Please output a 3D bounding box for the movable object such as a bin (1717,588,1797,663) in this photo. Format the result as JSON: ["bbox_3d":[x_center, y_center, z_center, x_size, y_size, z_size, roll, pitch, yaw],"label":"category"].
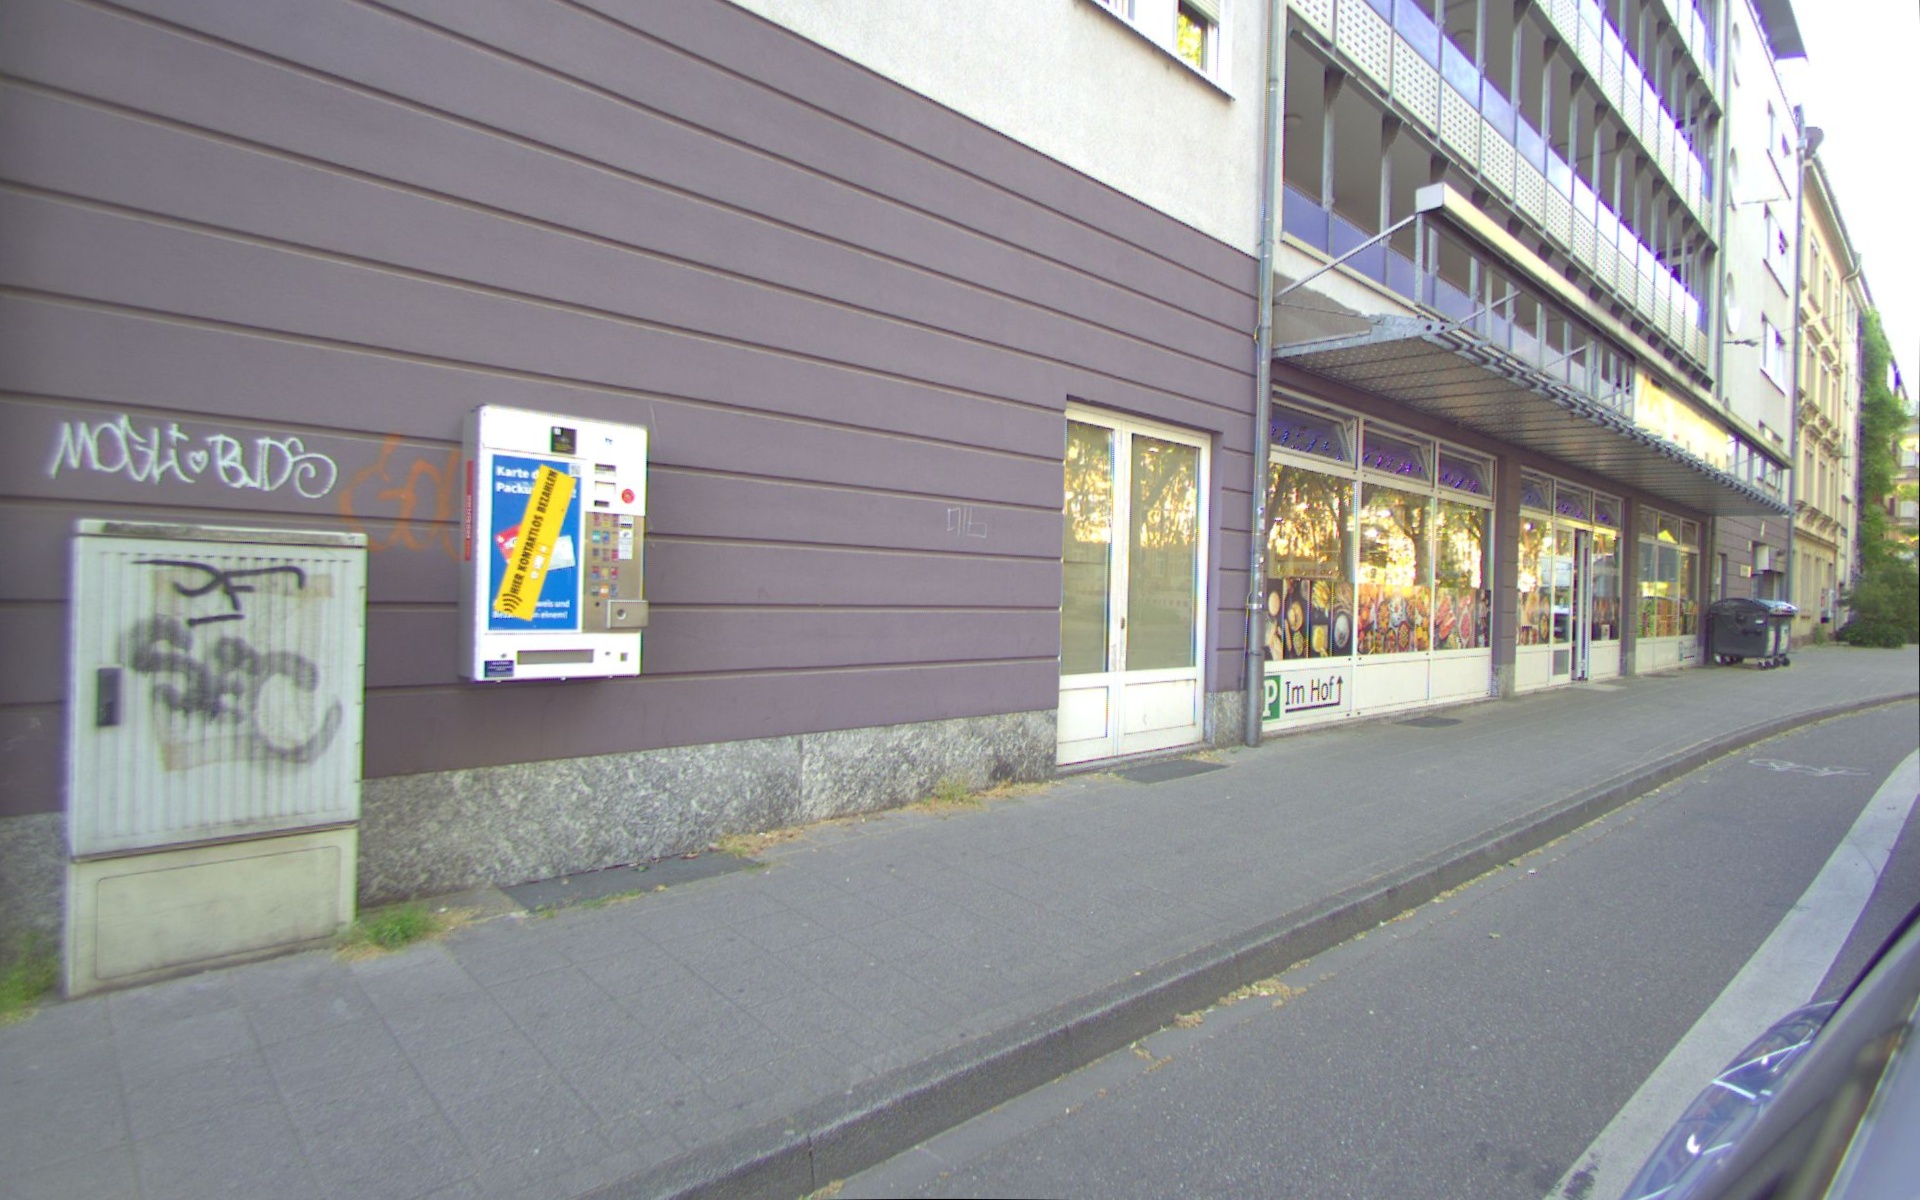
[{"bbox_3d":[16.446,0.495,20.879,1.274,1.465,1.068,1,1,-42],"label":"movable object such as a bin"}]

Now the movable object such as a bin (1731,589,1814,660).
[{"bbox_3d":[17.795,0.515,22.167,1.282,1.464,1.123,1,1,-38],"label":"movable object such as a bin"}]
